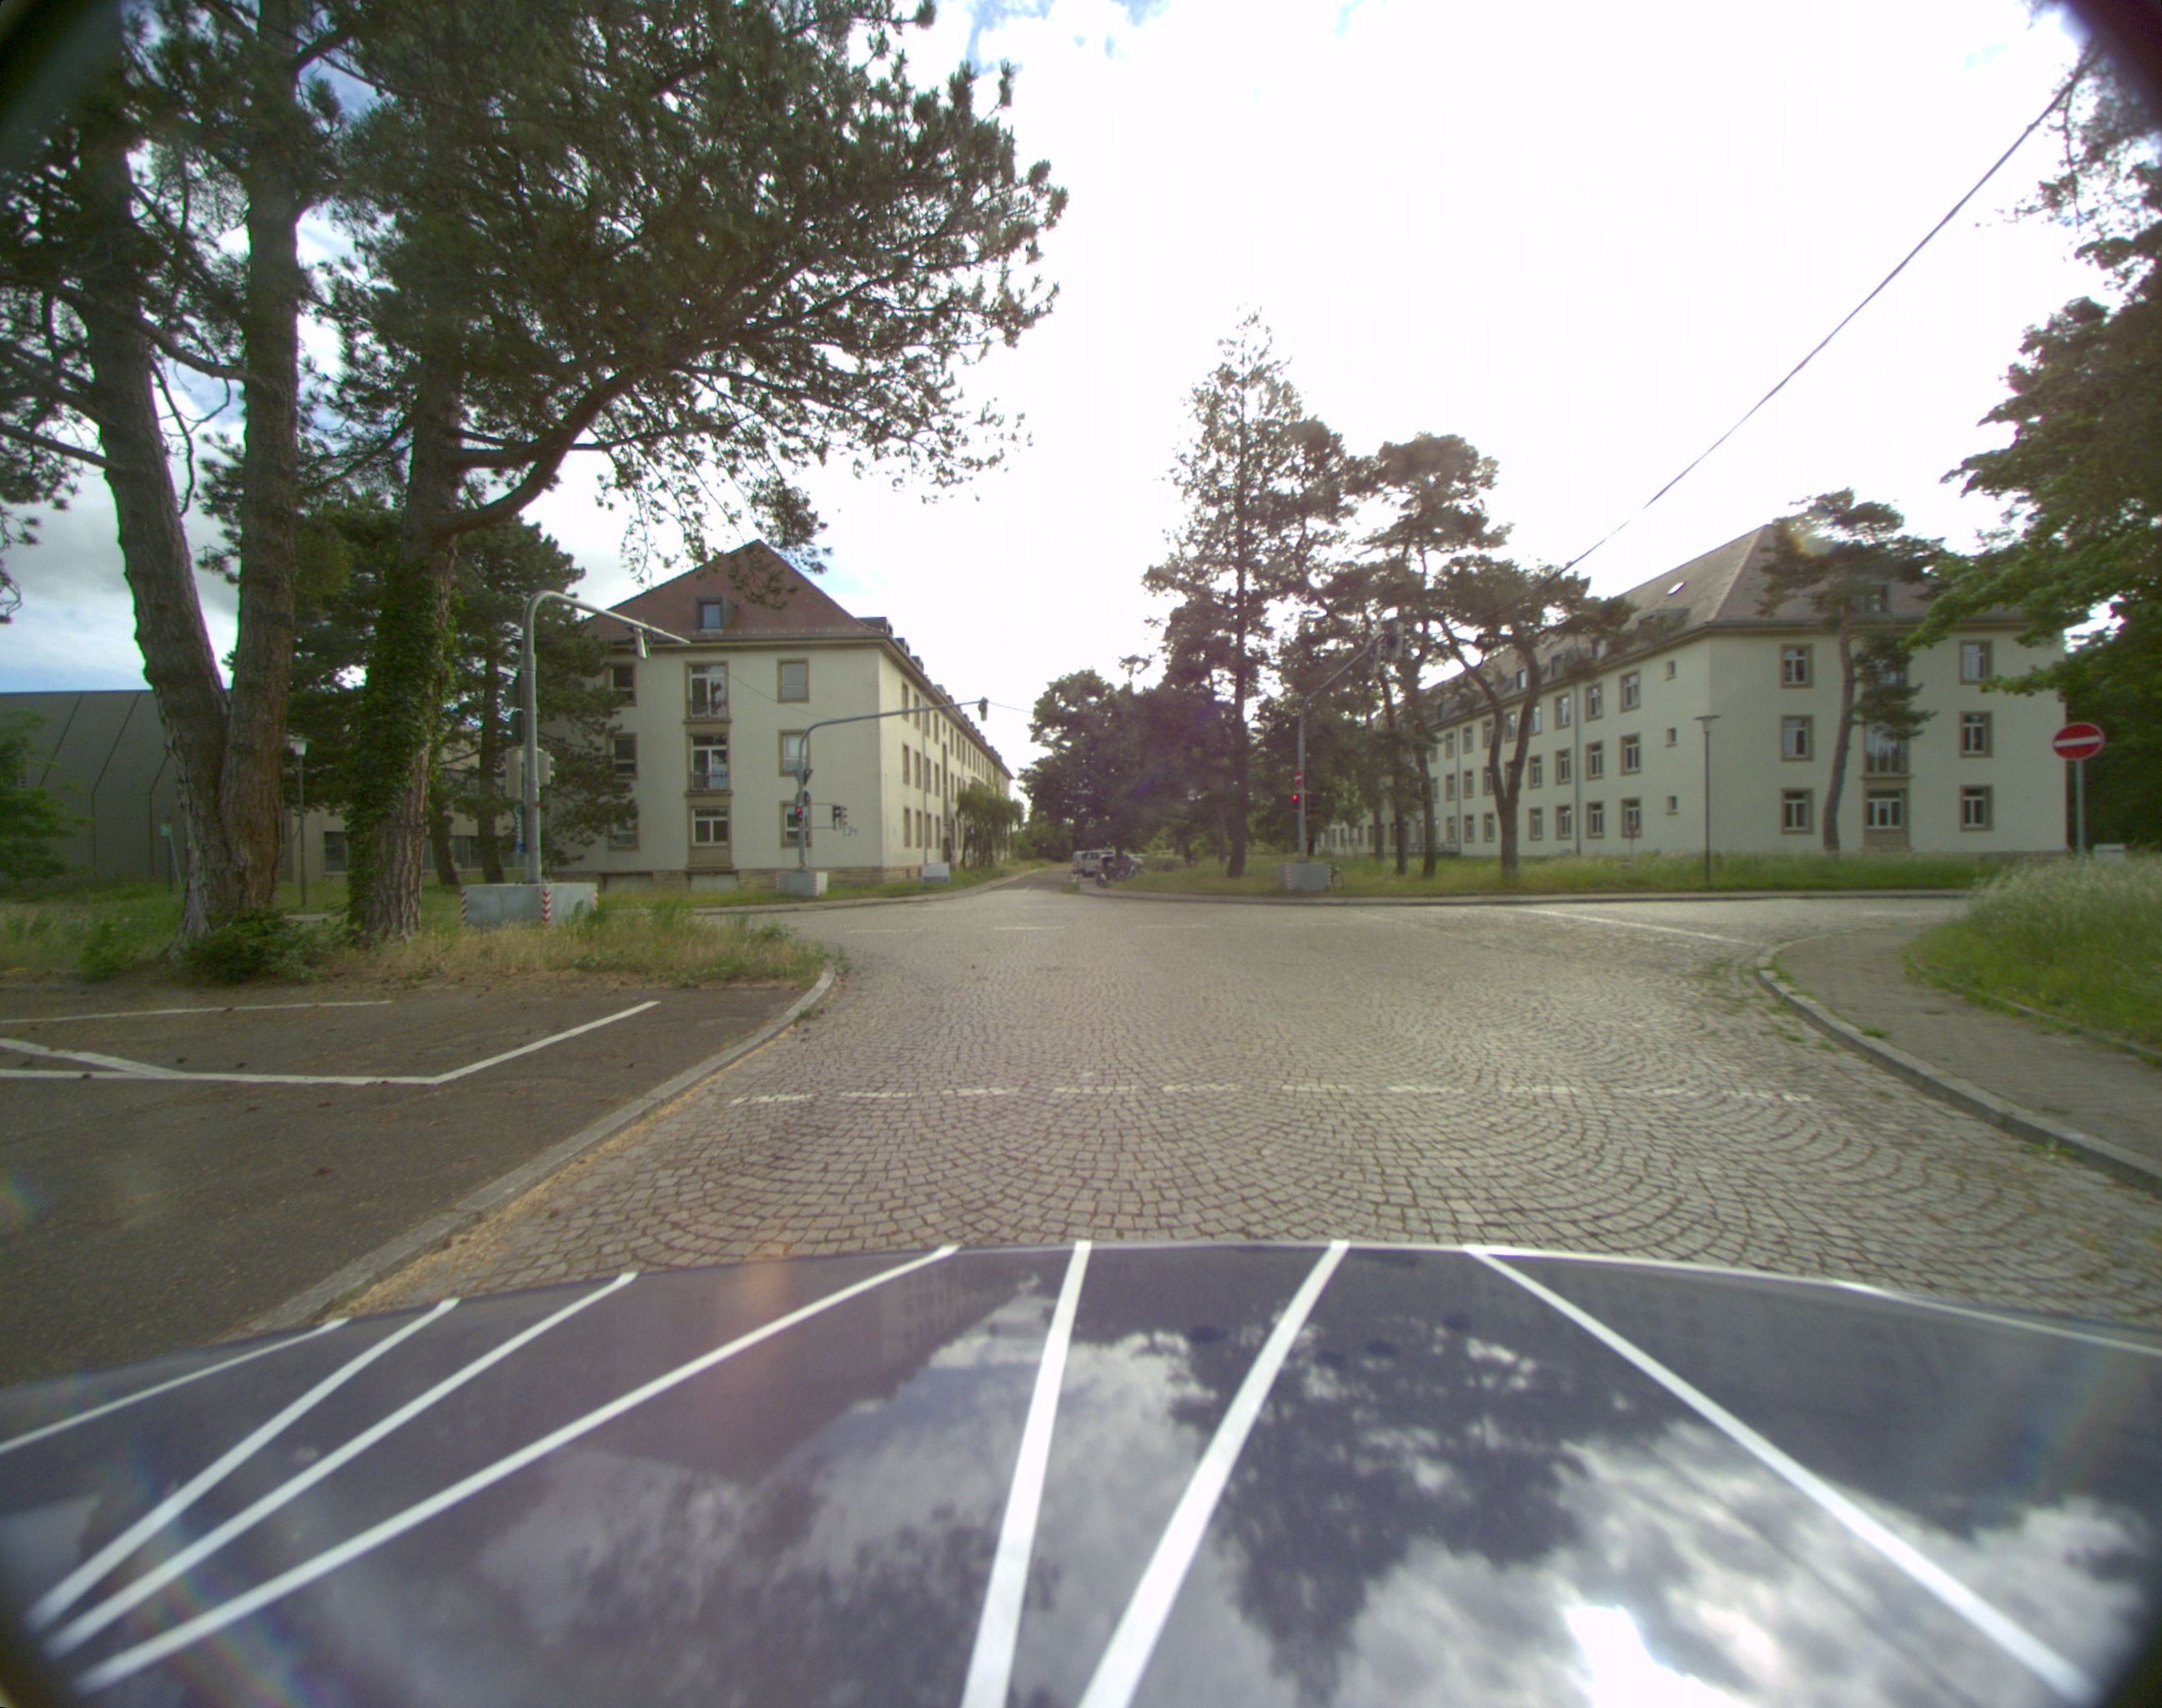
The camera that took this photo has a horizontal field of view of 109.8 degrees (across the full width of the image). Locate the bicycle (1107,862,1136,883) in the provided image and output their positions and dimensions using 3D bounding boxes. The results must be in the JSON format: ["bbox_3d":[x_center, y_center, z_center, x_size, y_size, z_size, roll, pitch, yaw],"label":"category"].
[{"bbox_3d":[2.232,0.998,41.651,1.457,1.033,0.497,-4,1,-5],"label":"bicycle"}]

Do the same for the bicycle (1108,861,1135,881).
[{"bbox_3d":[2.317,0.969,43.793,1.457,1.033,0.497,-4,1,-5],"label":"bicycle"}]

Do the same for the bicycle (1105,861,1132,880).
[{"bbox_3d":[2.217,0.983,44.789,1.457,1.033,0.497,-4,1,-5],"label":"bicycle"}]

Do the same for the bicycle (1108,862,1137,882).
[{"bbox_3d":[2.262,0.971,41.183,1.457,1.033,0.497,-4,1,-5],"label":"bicycle"}]

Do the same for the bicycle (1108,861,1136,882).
[{"bbox_3d":[2.296,0.979,42.776,1.457,1.033,0.497,-4,1,-5],"label":"bicycle"}]

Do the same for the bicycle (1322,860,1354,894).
[{"bbox_3d":[8.702,0.753,25.748,0.497,1.068,1.416,-4,1,-3],"label":"bicycle"}]

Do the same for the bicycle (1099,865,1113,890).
[{"bbox_3d":[1.153,1.054,35.083,0.497,1.068,1.416,-4,1,0],"label":"bicycle"}]

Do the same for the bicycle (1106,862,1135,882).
[{"bbox_3d":[2.189,0.985,42.143,1.457,1.033,0.497,-4,1,-5],"label":"bicycle"}]

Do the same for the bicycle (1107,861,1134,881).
[{"bbox_3d":[2.256,0.971,43.266,1.457,1.033,0.497,-4,1,-5],"label":"bicycle"}]

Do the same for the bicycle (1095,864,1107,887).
[{"bbox_3d":[0.970,1.048,36.688,0.497,1.032,1.416,-4,1,0],"label":"bicycle"}]

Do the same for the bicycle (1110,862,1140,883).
[{"bbox_3d":[2.330,0.989,40.492,1.457,1.033,0.497,-4,1,-5],"label":"bicycle"}]

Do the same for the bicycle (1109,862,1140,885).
[{"bbox_3d":[2.226,1.000,38.873,1.457,1.033,0.497,-4,1,-5],"label":"bicycle"}]

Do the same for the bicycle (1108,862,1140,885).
[{"bbox_3d":[2.162,0.990,38.077,1.457,1.033,0.497,-4,1,-7],"label":"bicycle"}]

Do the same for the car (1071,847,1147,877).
[{"bbox_3d":[2.077,0.558,56.183,5.173,1.905,2.034,-3,0,-13],"label":"car"}]

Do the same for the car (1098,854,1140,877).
[{"bbox_3d":[2.643,0.814,52.846,2.771,1.407,1.592,-3,0,-1],"label":"car"}]

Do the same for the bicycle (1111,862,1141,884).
[{"bbox_3d":[2.358,0.999,39.907,1.457,1.033,0.497,-4,1,-5],"label":"bicycle"}]
